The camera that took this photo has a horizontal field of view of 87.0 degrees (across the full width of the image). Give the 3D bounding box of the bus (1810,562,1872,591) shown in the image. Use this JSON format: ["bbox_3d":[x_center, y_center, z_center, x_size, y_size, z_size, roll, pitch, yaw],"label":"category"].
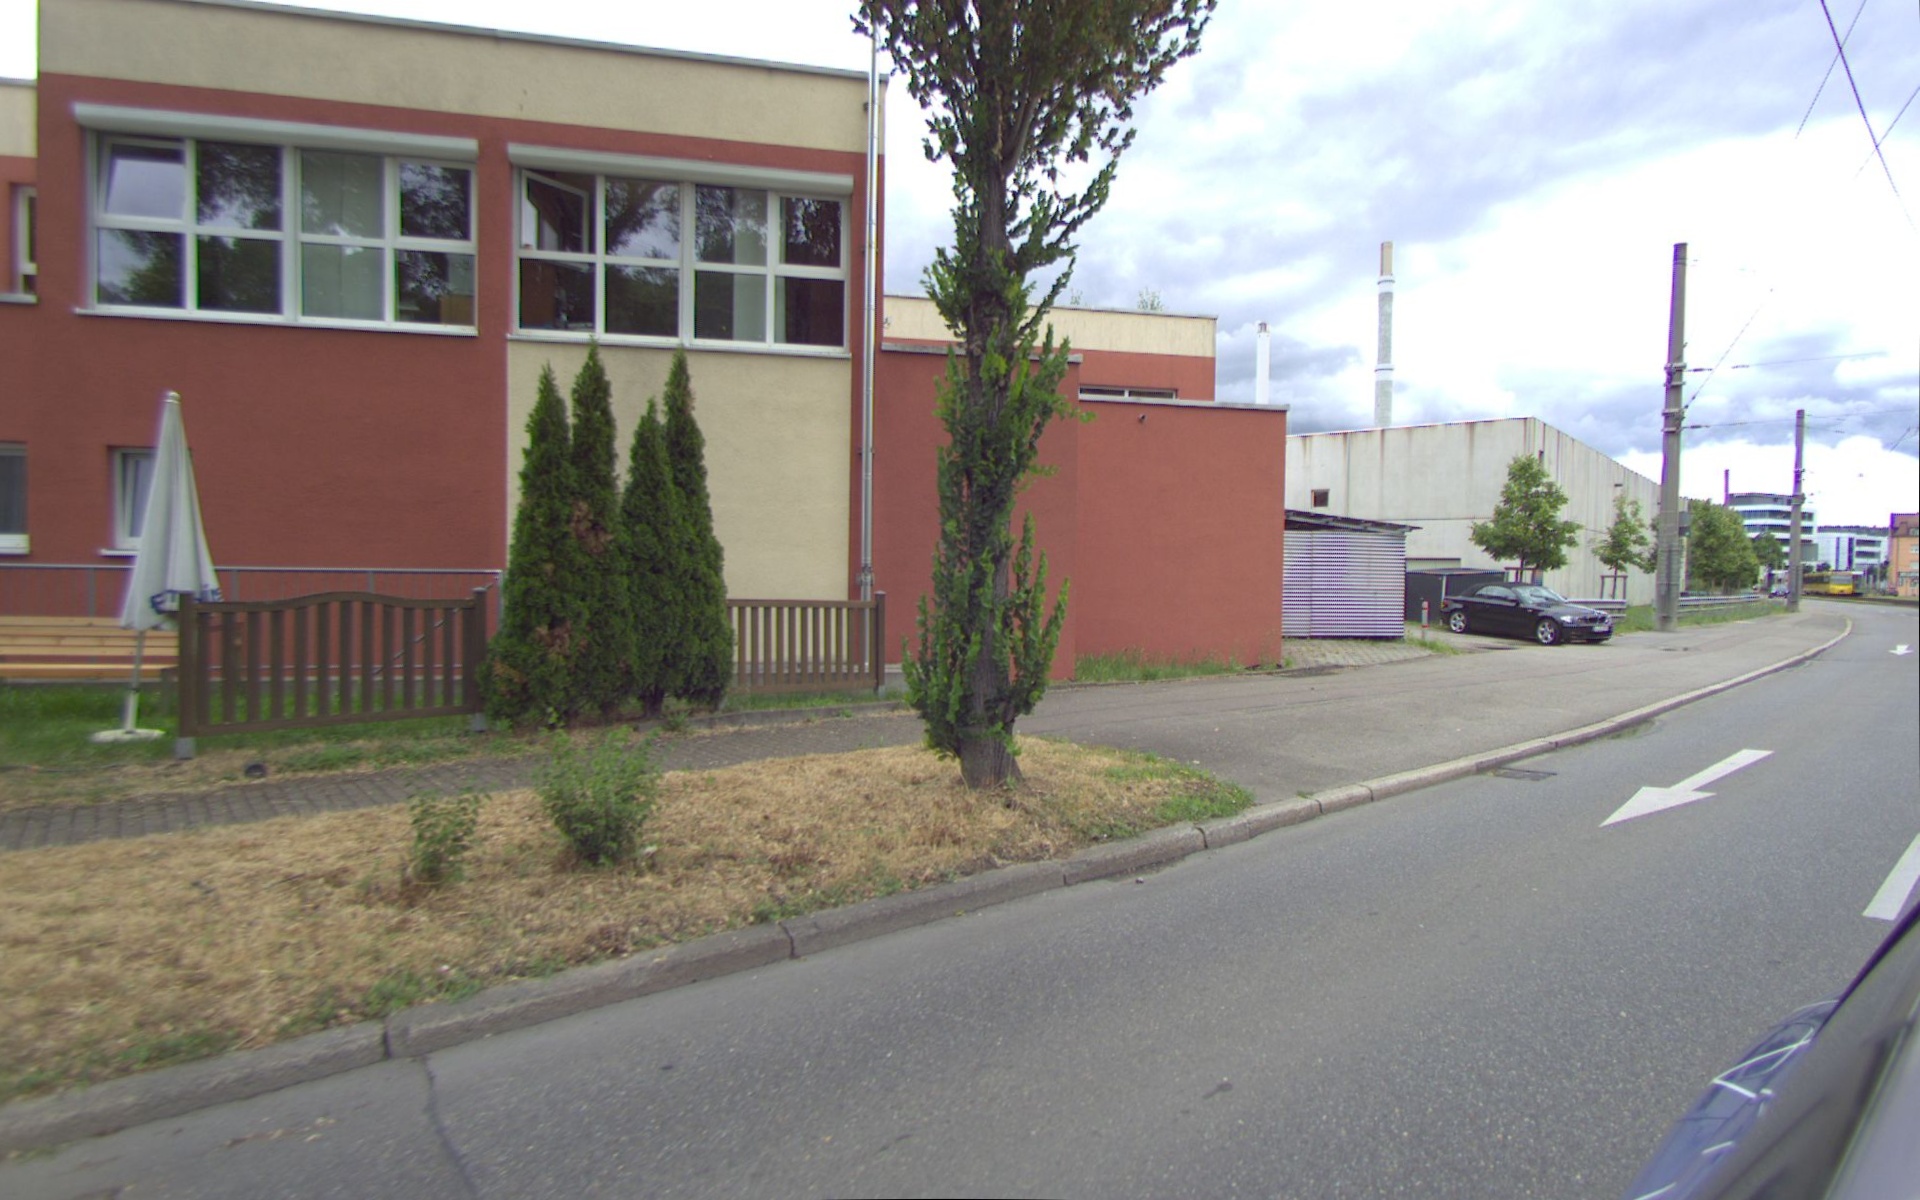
[{"bbox_3d":[127.420,-3.510,146.567,3.520,4.001,10.417,0,2,22],"label":"bus"}]

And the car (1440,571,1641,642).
[{"bbox_3d":[14.342,0.100,25.313,1.726,1.460,4.245,1,3,-18],"label":"car"}]

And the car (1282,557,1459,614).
[{"bbox_3d":[12.433,-0.461,30.861,4.432,1.567,2.164,1,3,-3],"label":"car"}]
